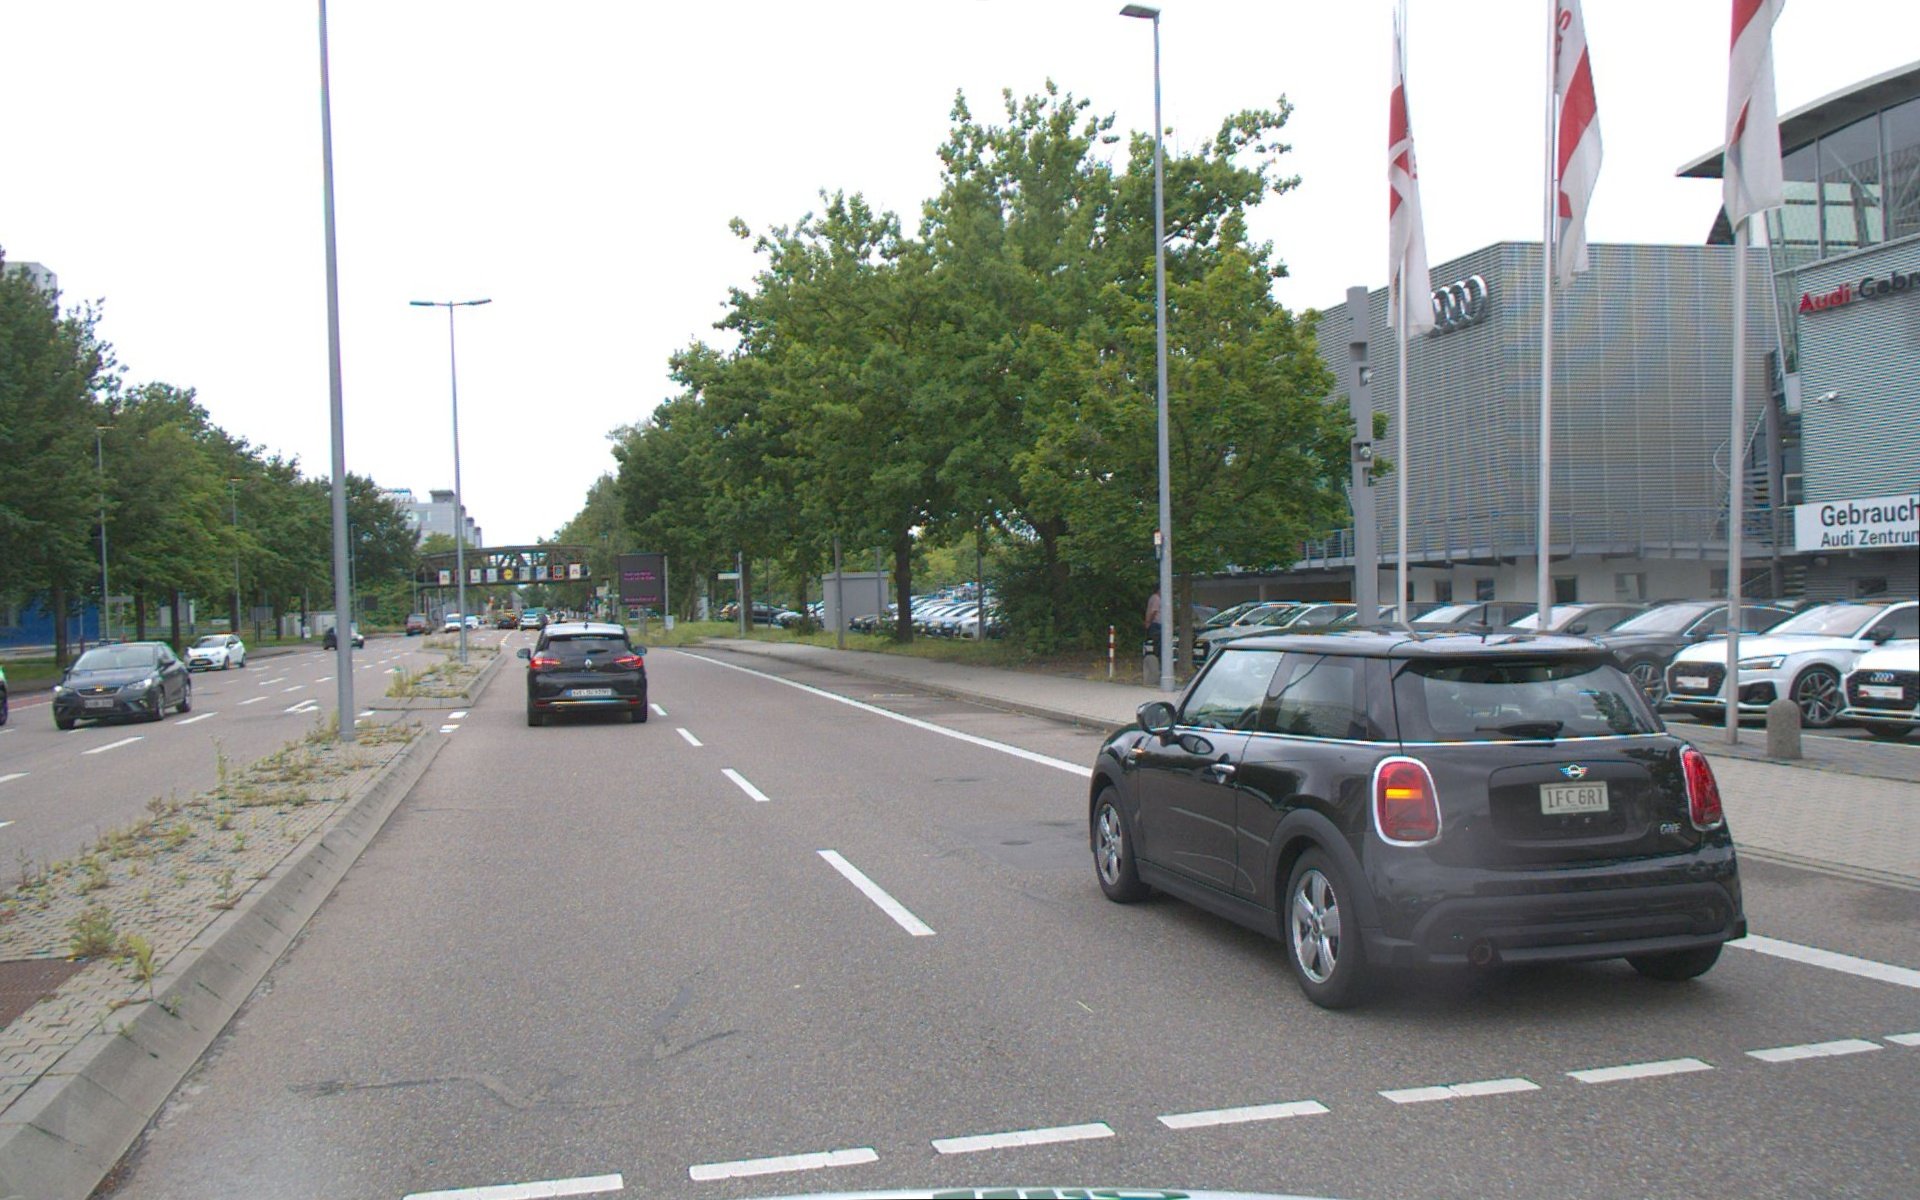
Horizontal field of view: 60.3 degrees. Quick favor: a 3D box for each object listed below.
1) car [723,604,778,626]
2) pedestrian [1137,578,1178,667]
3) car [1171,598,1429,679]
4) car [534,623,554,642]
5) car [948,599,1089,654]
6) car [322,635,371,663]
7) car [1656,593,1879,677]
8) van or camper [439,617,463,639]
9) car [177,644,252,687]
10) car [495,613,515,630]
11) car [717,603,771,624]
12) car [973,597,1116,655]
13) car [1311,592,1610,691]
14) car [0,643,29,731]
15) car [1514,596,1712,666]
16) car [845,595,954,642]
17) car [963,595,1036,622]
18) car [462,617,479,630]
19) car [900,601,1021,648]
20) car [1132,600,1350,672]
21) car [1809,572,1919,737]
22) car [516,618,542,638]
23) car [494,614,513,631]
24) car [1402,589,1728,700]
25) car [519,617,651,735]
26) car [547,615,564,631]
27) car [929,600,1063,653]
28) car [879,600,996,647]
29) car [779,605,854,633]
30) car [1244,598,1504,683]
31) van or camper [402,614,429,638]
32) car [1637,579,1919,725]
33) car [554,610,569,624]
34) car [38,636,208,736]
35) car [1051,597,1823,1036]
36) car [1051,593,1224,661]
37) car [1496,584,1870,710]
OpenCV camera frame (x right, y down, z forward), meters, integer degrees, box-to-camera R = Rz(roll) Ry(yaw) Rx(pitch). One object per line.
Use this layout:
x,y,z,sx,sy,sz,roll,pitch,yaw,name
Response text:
-15.306,1.085,120.661,3.912,1.460,1.727,-1,1,-8,car
4.245,0.480,35.633,0.660,1.904,0.716,0,-1,-15,pedestrian
6.540,0.729,31.939,4.571,1.497,1.840,1,0,-15,car
-45.552,3.504,180.979,1.916,1.847,3.989,-1,2,-12,car
1.875,0.842,53.543,4.126,1.512,1.952,3,0,-15,car
-38.690,3.050,104.402,1.882,1.528,4.244,-5,0,-8,car
16.924,0.701,34.721,4.034,1.571,1.809,-1,1,-15,car
-48.058,2.623,156.146,1.726,1.777,4.390,-5,1,-14,van or camper
-31.772,2.762,70.580,1.824,1.487,4.321,-4,1,-10,car
-52.622,2.492,191.267,1.916,1.847,3.989,-1,2,-12,car
-16.039,0.997,122.896,3.912,1.460,1.727,-1,1,-8,car
2.583,0.794,51.046,3.996,1.512,1.812,3,0,-15,car
8.060,0.672,26.719,4.292,1.496,1.887,1,-1,-15,car
-19.024,1.759,30.485,1.961,1.621,4.560,-6,2,-14,car
15.683,0.713,39.752,4.267,1.512,1.734,-1,1,-15,car
-2.694,0.820,73.567,4.472,1.731,1.994,4,0,-13,car
2.361,0.483,98.379,4.019,1.460,1.723,-1,1,-16,car
-60.170,2.849,203.349,1.723,1.472,3.330,-1,2,-12,car
-0.014,0.900,61.128,4.104,1.481,1.927,3,0,-13,car
5.867,0.731,34.680,4.134,1.446,1.848,0,0,-15,car
10.693,0.537,16.132,4.113,1.512,1.846,1,-1,-14,car
-39.984,2.593,153.496,2.098,1.691,3.771,-1,2,-12,car
-51.002,2.469,184.817,1.851,1.691,3.771,-1,2,-12,car
8.709,0.644,23.925,4.107,1.512,1.901,1,-1,-15,car
-5.518,1.055,24.668,1.726,1.459,3.989,-2,1,-11,car
-51.234,2.942,209.414,1.916,1.847,3.989,-1,2,-12,car
1.196,0.896,56.000,4.111,1.512,1.970,3,0,-14,car
-0.914,0.941,66.218,4.318,1.546,1.993,4,0,-14,car
-8.256,1.067,95.098,4.019,1.460,1.815,-1,1,-16,car
7.320,0.712,29.370,4.084,1.415,1.895,1,-1,-15,car
-48.840,2.320,148.451,1.844,2.021,4.871,-3,1,-14,van or camper
9.924,0.578,18.594,3.963,1.512,1.870,1,-1,-14,car
-57.810,2.507,240.036,1.916,1.847,3.989,-1,2,-12,car
-15.523,1.532,30.921,1.826,1.487,4.315,-4,1,-14,car
1.837,0.805,7.610,1.756,1.440,3.628,-2,-2,-15,car
4.633,0.707,43.329,4.055,1.418,1.864,4,0,-15,car
9.252,0.606,21.268,4.146,1.512,1.865,1,-1,-14,car
